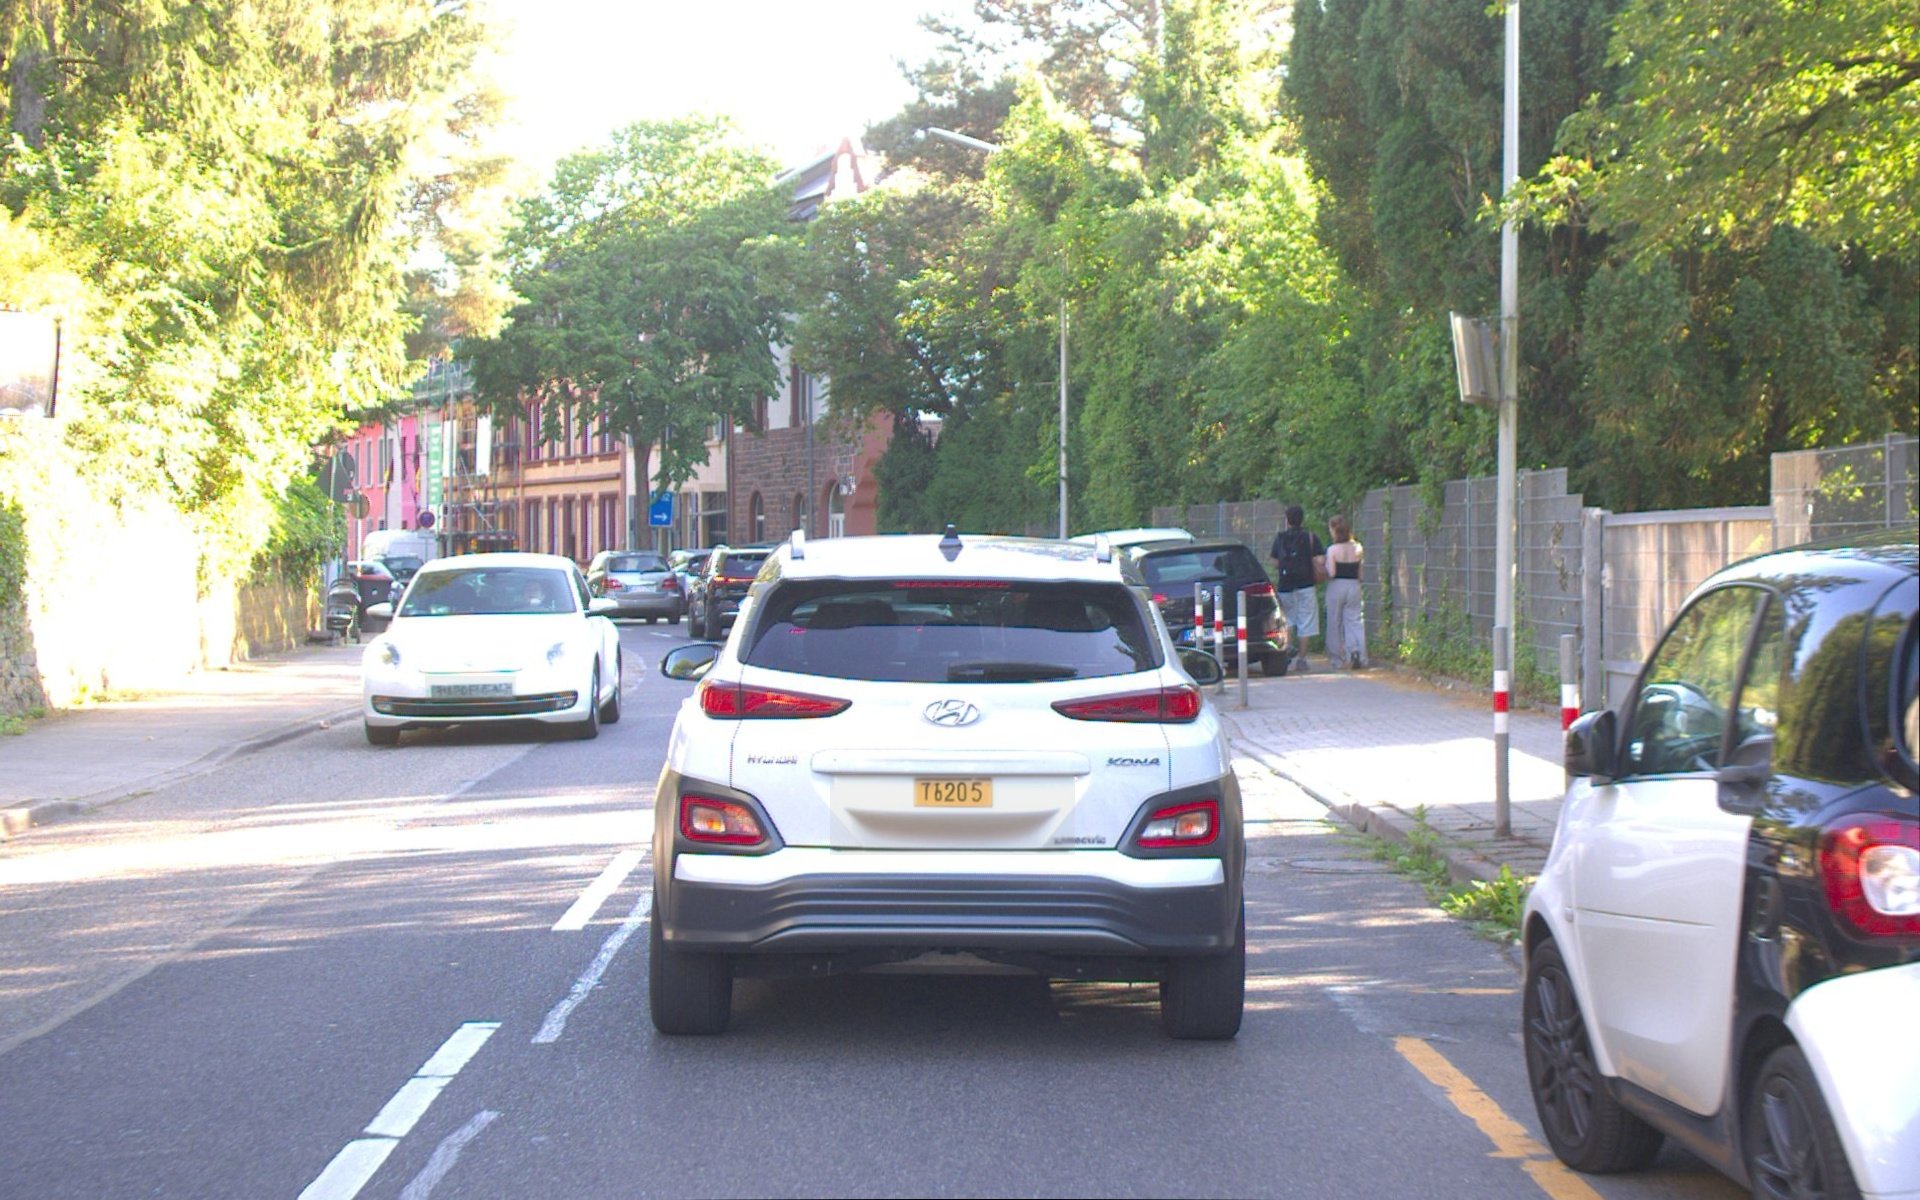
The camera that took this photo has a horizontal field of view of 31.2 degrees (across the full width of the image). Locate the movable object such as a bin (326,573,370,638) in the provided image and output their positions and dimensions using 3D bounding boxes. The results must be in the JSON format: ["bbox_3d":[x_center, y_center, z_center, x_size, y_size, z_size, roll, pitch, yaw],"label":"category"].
[{"bbox_3d":[-9.585,0.084,53.863,0.495,1.008,1.113,1,0,-1],"label":"movable object such as a bin"}]

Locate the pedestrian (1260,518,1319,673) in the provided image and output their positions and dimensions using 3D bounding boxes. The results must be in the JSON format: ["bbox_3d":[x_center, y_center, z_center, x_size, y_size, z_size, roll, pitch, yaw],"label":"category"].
[{"bbox_3d":[3.481,-0.048,36.316,0.503,1.601,0.491,-2,1,0],"label":"pedestrian"}]

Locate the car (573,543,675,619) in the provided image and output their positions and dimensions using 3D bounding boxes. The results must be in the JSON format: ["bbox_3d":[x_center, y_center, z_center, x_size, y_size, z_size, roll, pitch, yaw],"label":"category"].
[{"bbox_3d":[-7.200,-0.410,73.502,1.589,1.577,3.362,-1,1,-16],"label":"car"}]

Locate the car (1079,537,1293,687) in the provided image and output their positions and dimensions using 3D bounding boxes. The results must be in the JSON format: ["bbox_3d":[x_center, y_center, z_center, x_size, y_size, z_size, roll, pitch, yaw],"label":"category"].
[{"bbox_3d":[2.316,0.086,36.145,1.686,1.426,4.001,-2,1,-4],"label":"car"}]

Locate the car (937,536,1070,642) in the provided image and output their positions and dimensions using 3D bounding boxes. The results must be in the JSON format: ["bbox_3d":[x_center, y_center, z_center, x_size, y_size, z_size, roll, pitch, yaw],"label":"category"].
[{"bbox_3d":[0.634,-0.198,52.590,1.593,1.484,3.603,-3,1,-5],"label":"car"}]

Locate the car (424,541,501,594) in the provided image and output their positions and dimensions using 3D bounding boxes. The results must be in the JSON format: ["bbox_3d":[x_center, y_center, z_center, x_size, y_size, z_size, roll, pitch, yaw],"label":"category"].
[{"bbox_3d":[-16.155,-1.057,111.499,1.755,1.611,4.001,1,1,-18],"label":"car"}]

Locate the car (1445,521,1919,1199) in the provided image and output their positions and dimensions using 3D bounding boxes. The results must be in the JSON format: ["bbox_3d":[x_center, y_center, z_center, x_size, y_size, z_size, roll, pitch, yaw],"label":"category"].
[{"bbox_3d":[2.219,0.603,7.568,1.624,1.504,2.904,-3,2,-5],"label":"car"}]

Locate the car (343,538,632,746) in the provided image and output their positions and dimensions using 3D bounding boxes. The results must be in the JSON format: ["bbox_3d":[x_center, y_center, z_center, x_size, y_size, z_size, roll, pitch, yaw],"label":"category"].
[{"bbox_3d":[-3.763,0.299,27.989,1.741,1.469,4.000,-4,1,0],"label":"car"}]

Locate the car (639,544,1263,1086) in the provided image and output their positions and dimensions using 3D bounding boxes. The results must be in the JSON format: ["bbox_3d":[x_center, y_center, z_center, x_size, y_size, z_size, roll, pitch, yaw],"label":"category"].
[{"bbox_3d":[-0.035,0.588,11.831,1.772,1.537,4.000,0,1,0],"label":"car"}]

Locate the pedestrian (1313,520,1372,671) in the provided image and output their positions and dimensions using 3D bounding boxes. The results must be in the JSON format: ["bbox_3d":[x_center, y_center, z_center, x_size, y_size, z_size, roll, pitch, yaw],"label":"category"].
[{"bbox_3d":[4.035,-0.050,36.319,0.503,1.564,0.503,-2,1,0],"label":"pedestrian"}]

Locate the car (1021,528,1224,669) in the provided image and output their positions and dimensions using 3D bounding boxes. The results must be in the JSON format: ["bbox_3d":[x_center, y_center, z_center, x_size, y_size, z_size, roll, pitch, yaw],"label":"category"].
[{"bbox_3d":[1.909,-0.036,41.519,1.593,1.560,4.001,-2,1,-9],"label":"car"}]

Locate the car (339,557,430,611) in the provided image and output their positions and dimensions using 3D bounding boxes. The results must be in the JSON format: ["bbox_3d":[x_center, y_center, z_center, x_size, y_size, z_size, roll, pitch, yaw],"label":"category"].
[{"bbox_3d":[-14.290,-0.409,85.234,1.592,1.313,3.813,0,1,-19],"label":"car"}]

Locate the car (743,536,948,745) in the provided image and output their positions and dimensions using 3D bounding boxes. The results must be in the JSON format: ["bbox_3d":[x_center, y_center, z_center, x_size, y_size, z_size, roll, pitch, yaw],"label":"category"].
[{"bbox_3d":[-0.942,0.265,27.310,1.511,1.528,3.548,0,1,-3],"label":"car"}]

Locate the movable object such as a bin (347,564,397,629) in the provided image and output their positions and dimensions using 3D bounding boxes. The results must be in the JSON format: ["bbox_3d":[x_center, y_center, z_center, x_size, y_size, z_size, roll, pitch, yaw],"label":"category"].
[{"bbox_3d":[-10.923,-0.070,63.856,0.792,1.185,0.773,1,0,-2],"label":"movable object such as a bin"}]

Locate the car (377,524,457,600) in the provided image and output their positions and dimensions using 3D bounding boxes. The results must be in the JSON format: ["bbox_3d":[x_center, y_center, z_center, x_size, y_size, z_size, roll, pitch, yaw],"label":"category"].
[{"bbox_3d":[-19.034,-1.325,120.337,1.928,2.574,4.395,-1,1,-19],"label":"car"}]

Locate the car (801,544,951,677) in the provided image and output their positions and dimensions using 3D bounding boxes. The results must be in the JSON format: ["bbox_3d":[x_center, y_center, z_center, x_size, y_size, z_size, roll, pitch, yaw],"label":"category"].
[{"bbox_3d":[-0.954,0.091,40.608,1.570,1.472,3.548,1,1,2],"label":"car"}]

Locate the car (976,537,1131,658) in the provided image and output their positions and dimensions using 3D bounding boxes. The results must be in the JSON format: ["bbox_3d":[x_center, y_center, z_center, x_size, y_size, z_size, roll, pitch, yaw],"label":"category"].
[{"bbox_3d":[1.232,-0.057,47.081,1.593,1.514,3.933,-3,1,-5],"label":"car"}]

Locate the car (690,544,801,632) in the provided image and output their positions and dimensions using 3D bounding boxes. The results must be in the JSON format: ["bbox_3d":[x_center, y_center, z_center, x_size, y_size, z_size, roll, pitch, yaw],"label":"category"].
[{"bbox_3d":[-3.702,-0.225,59.050,1.592,1.456,3.100,-1,1,-9],"label":"car"}]

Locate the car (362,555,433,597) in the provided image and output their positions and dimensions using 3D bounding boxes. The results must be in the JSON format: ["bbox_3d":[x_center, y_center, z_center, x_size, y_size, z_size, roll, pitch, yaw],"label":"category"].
[{"bbox_3d":[-17.238,-0.751,105.244,1.526,1.256,3.362,-1,1,-20],"label":"car"}]
